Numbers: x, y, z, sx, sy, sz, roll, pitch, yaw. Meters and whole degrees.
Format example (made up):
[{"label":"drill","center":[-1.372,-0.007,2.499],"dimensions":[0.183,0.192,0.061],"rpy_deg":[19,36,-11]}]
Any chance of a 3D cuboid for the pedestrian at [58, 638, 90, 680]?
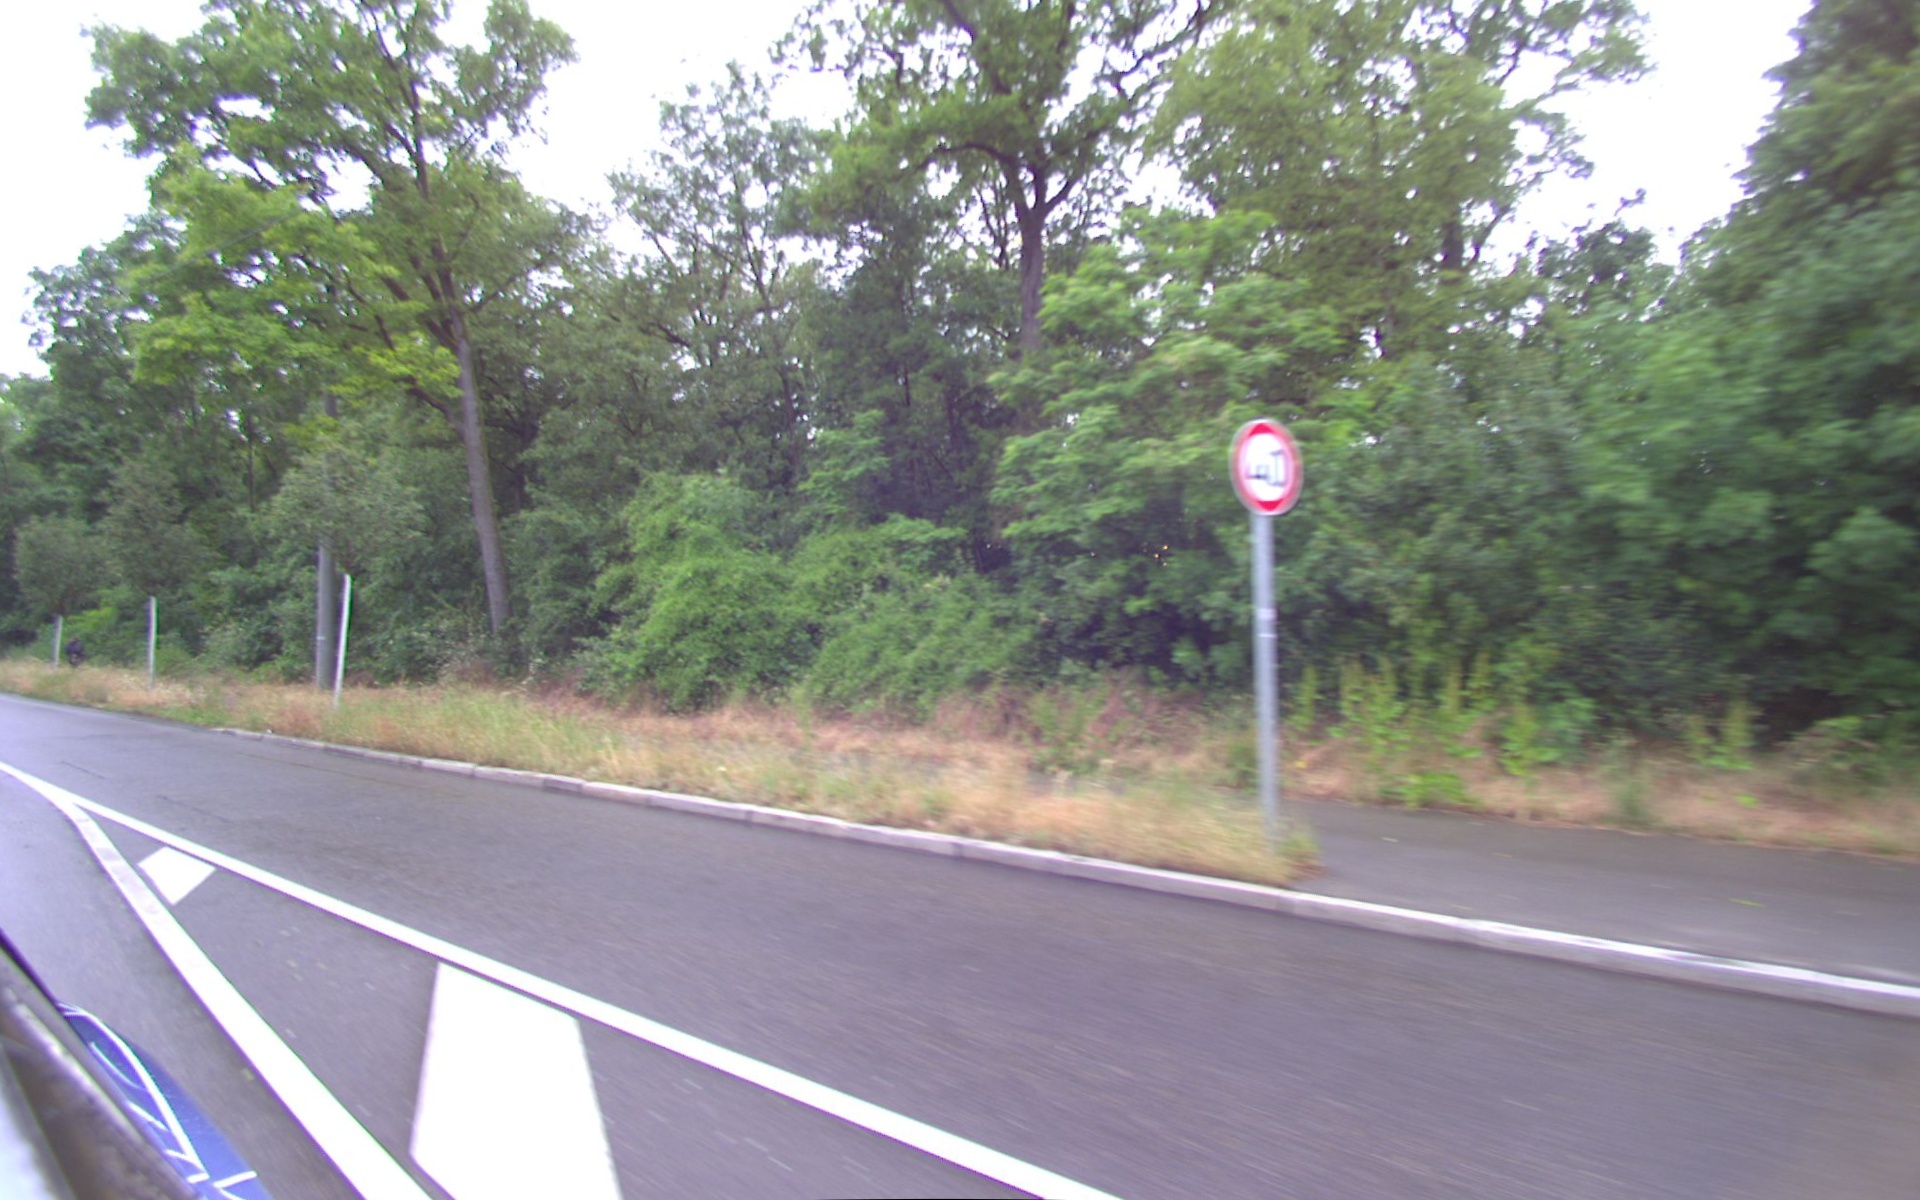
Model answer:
[{"label":"pedestrian","center":[-34.222,2.268,39.073],"dimensions":[0.731,1.620,0.774],"rpy_deg":[-2,-3,38]}]
